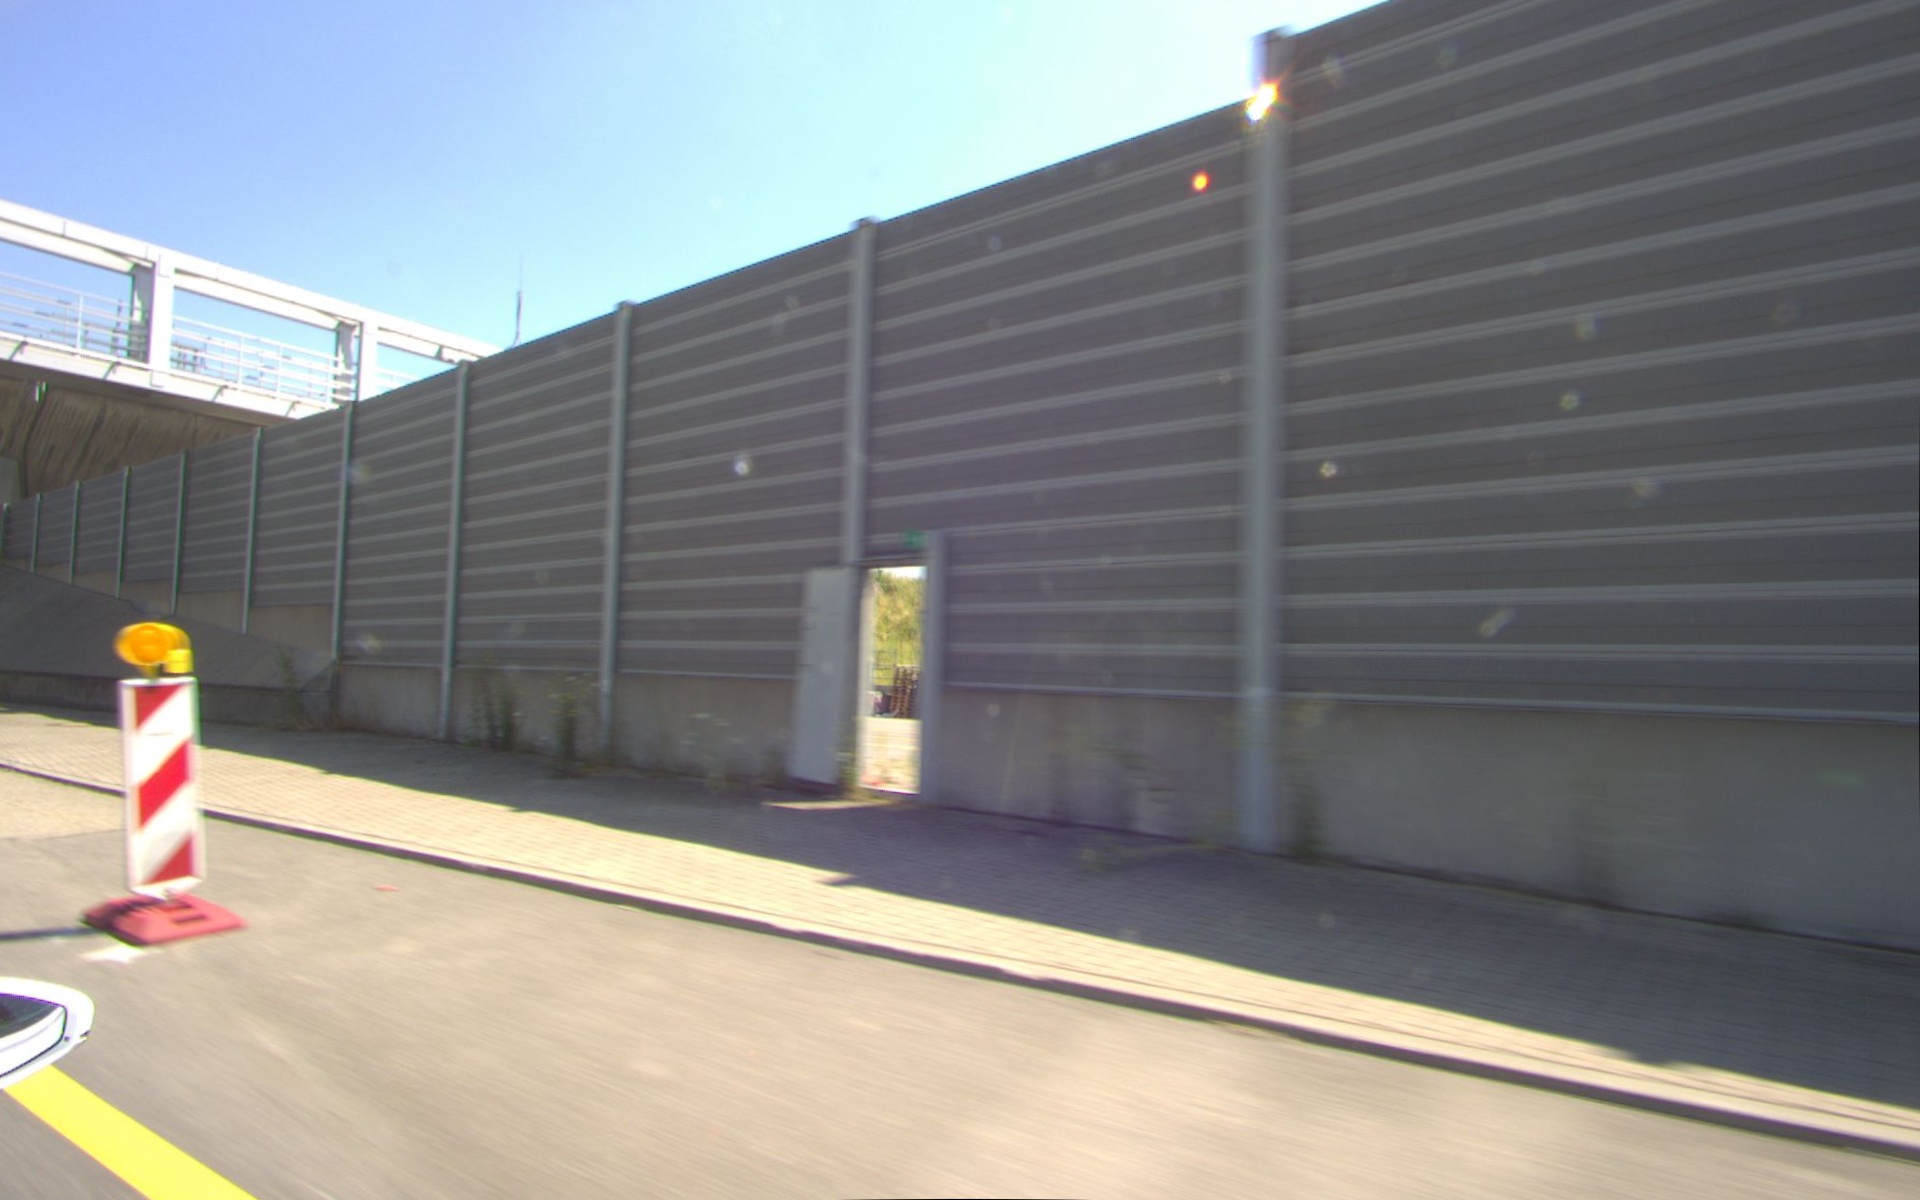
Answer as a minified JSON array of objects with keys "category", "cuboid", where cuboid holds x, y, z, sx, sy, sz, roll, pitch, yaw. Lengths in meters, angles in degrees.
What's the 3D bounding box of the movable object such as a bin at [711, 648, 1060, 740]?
[{"category":"movable object such as a bin","cuboid":[-3.307,3.458,39.030,14.488,3.047,3.108,-1,-4,31]}]
